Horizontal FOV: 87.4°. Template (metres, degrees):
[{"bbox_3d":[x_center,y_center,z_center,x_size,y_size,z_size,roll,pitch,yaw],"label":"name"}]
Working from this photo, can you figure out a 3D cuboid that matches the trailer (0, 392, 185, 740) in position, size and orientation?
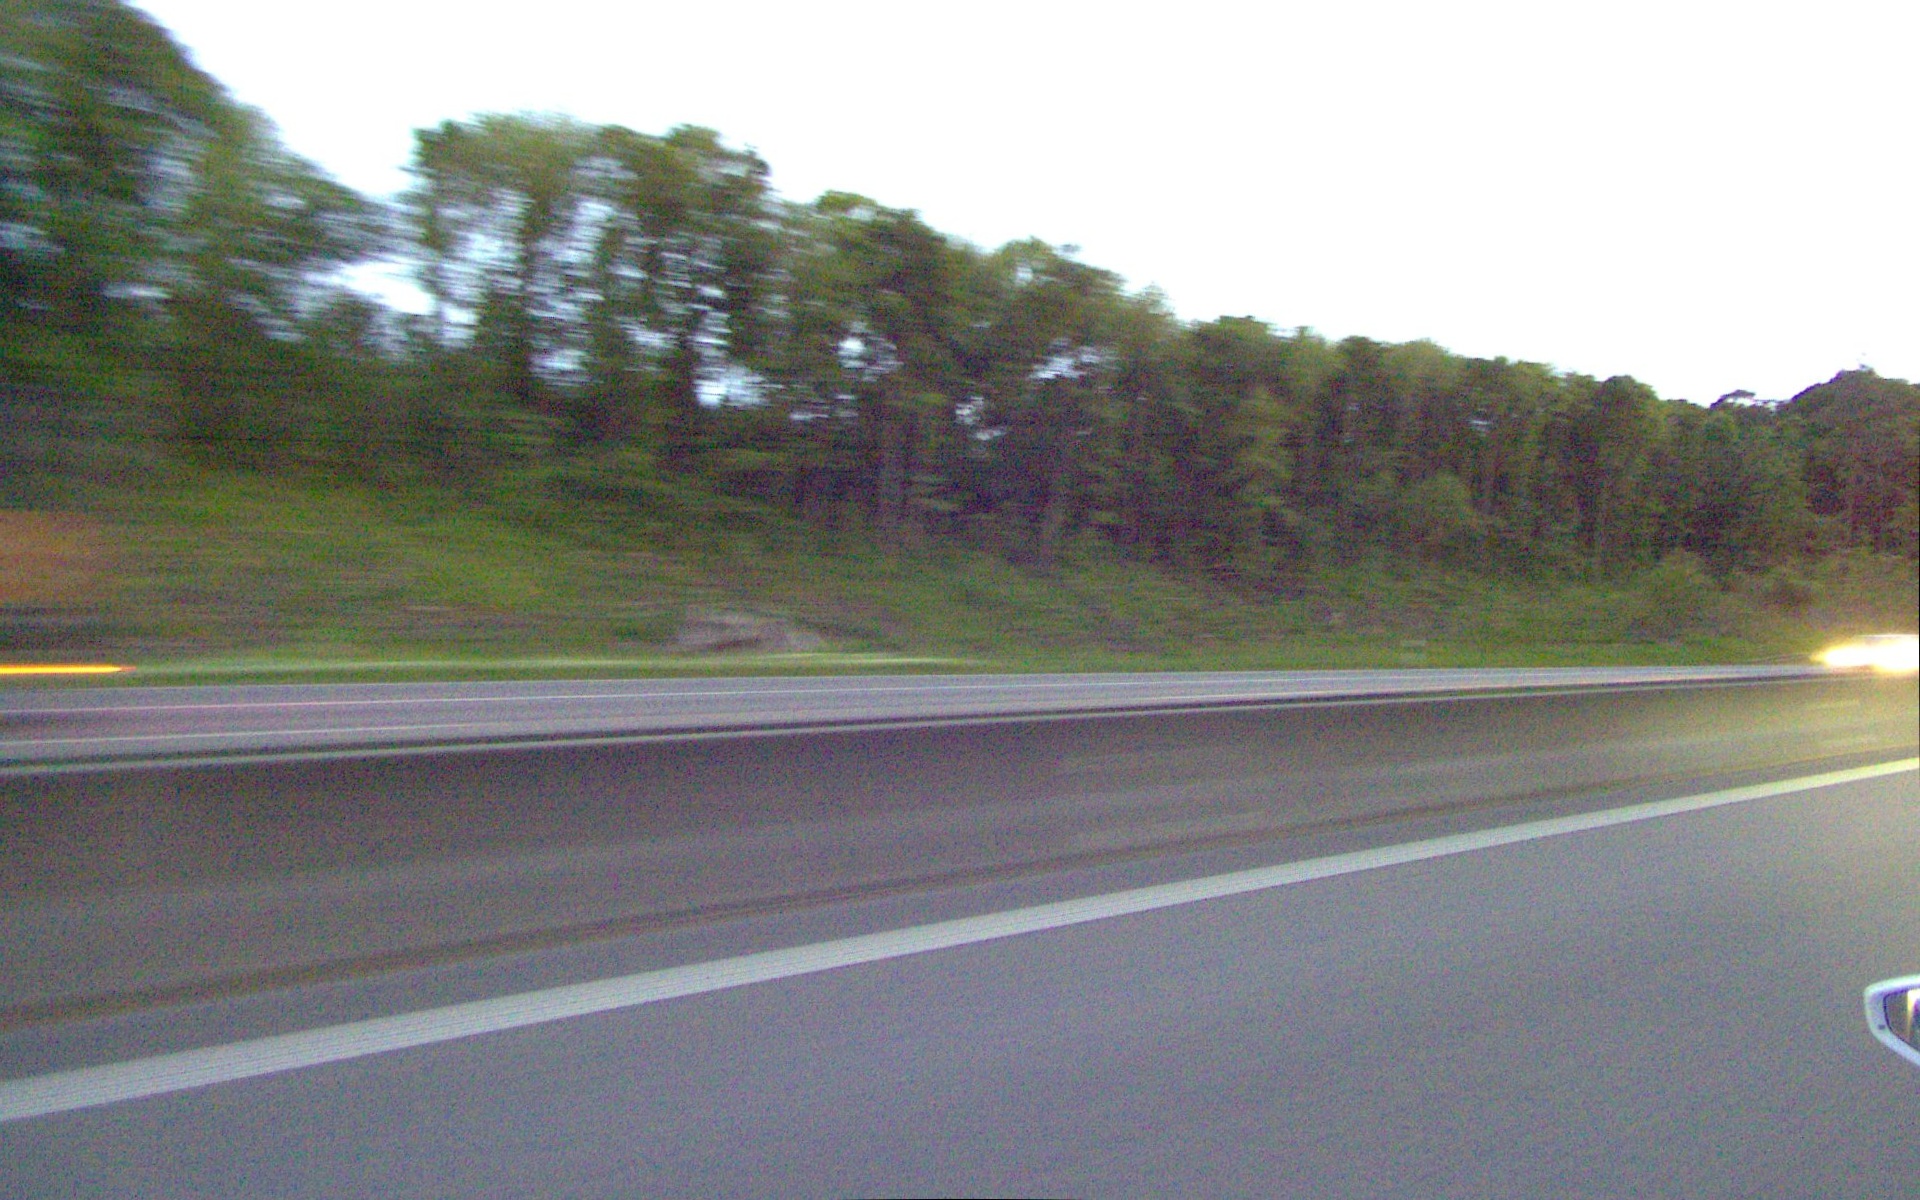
[{"bbox_3d":[-14.876,-0.482,10.723,10.067,3.982,2.634,2,-1,-31],"label":"trailer"}]

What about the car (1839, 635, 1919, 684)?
[{"bbox_3d":[33.462,2.081,35.835,4.601,1.595,1.871,2,-1,-31],"label":"car"}]
